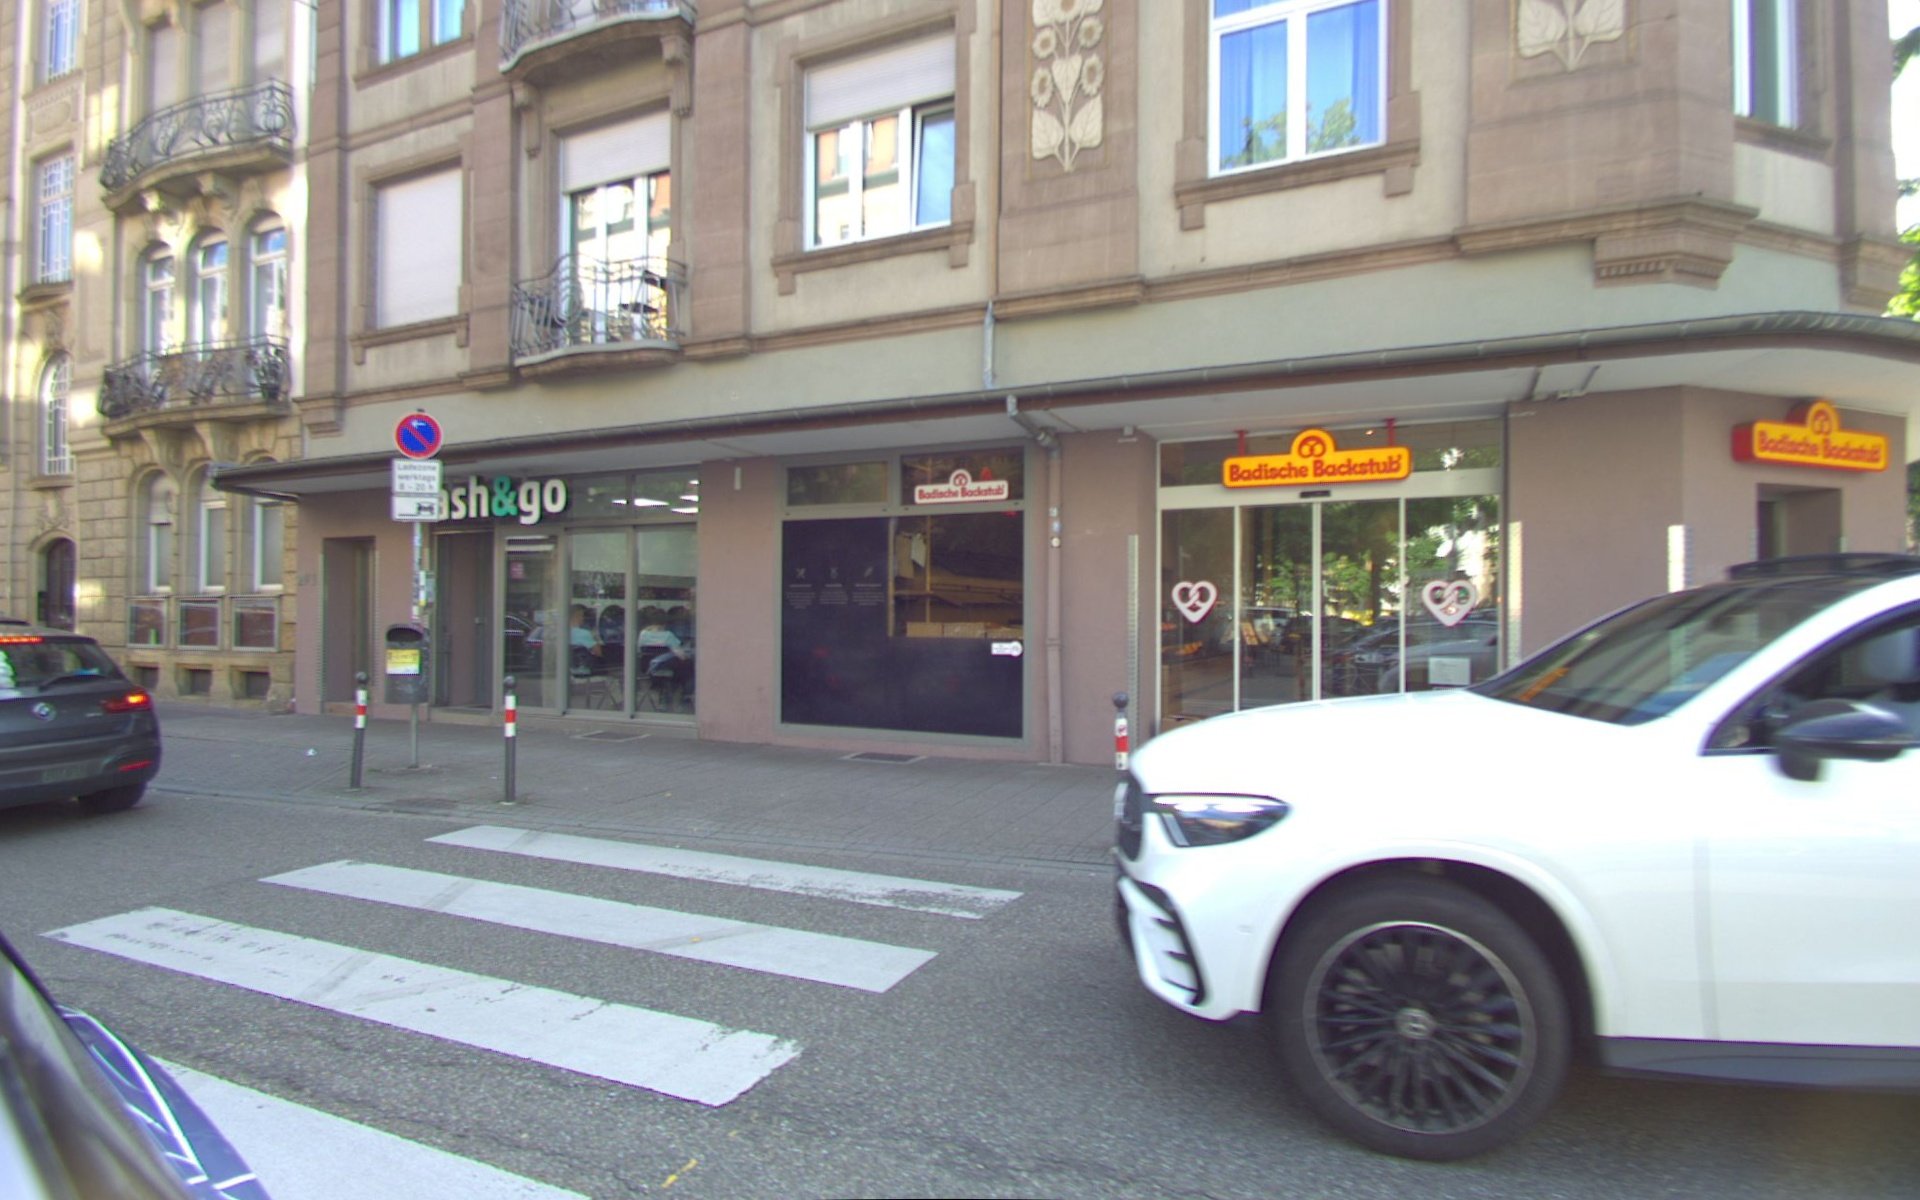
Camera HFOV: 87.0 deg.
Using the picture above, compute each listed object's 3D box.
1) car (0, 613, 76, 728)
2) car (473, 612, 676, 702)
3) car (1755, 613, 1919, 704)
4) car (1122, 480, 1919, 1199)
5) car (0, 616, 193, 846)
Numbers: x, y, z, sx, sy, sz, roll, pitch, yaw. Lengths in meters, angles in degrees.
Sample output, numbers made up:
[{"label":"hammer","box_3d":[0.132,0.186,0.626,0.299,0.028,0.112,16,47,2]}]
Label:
[{"label":"car","box_3d":[-13.421,0.888,12.861,3.801,1.379,1.713,-1,0,20]},{"label":"car","box_3d":[-7.908,1.109,21.196,1.983,1.633,3.979,-1,0,16]},{"label":"car","box_3d":[16.406,0.995,17.655,3.677,1.487,1.564,-1,0,25]},{"label":"car","box_3d":[2.968,0.578,3.148,4.794,1.647,1.992,0,-2,12]},{"label":"car","box_3d":[-7.933,0.838,7.306,4.419,1.392,1.758,0,1,21]}]
